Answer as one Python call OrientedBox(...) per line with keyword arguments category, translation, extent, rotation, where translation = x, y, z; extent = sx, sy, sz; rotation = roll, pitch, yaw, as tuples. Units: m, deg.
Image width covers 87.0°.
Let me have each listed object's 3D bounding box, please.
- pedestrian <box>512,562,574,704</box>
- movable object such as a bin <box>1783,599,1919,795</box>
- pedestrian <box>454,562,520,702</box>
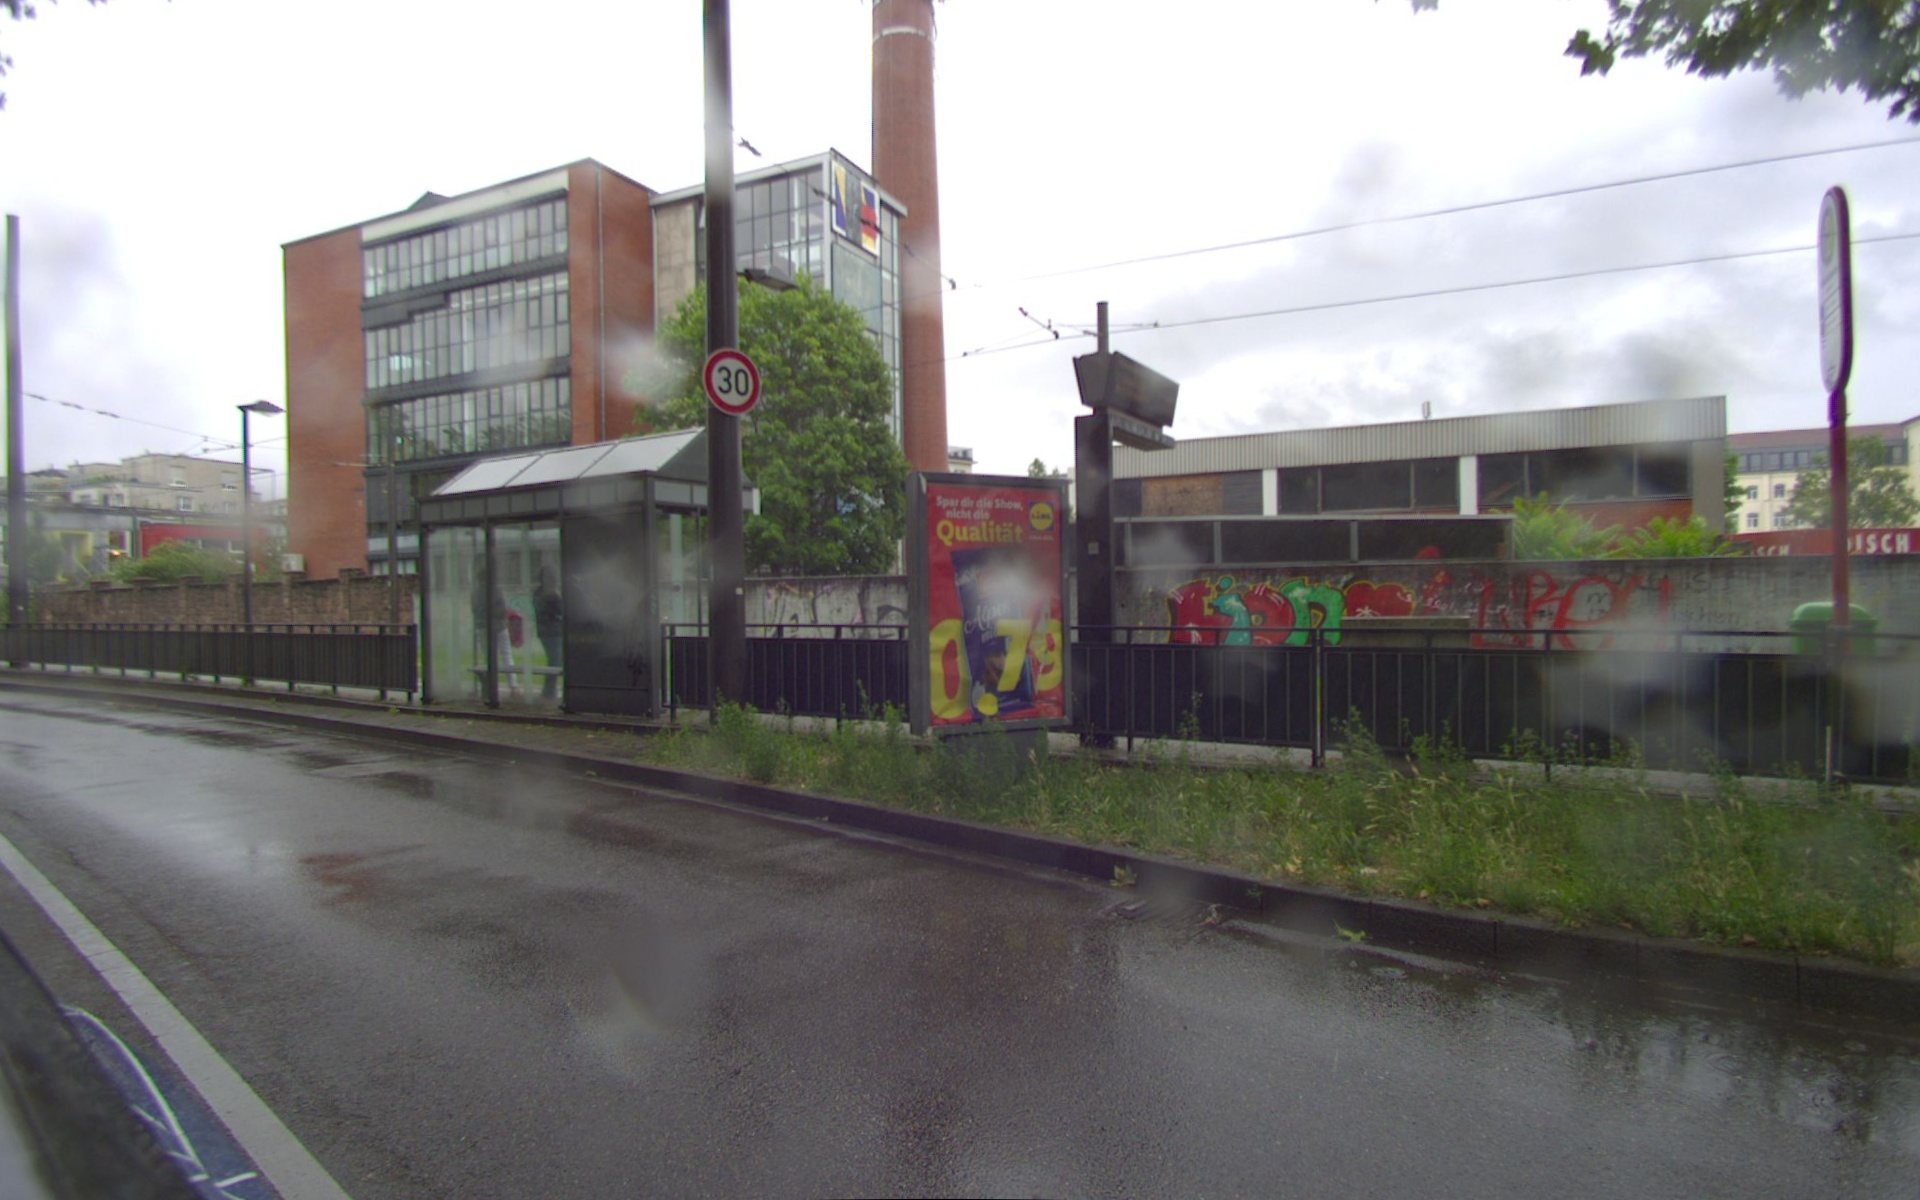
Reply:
OrientedBox(category="pedestrian", translation=(-5.241, 0.411, 12.742), extent=(0.560, 1.744, 0.583), rotation=(0, -2, -3))
OrientedBox(category="movable object such as a bin", translation=(5.264, 0.549, 5.962), extent=(0.528, 1.098, 0.414), rotation=(-1, -2, 25))
OrientedBox(category="pedestrian", translation=(-6.014, 0.401, 12.892), extent=(0.560, 1.744, 0.583), rotation=(0, -2, -1))
